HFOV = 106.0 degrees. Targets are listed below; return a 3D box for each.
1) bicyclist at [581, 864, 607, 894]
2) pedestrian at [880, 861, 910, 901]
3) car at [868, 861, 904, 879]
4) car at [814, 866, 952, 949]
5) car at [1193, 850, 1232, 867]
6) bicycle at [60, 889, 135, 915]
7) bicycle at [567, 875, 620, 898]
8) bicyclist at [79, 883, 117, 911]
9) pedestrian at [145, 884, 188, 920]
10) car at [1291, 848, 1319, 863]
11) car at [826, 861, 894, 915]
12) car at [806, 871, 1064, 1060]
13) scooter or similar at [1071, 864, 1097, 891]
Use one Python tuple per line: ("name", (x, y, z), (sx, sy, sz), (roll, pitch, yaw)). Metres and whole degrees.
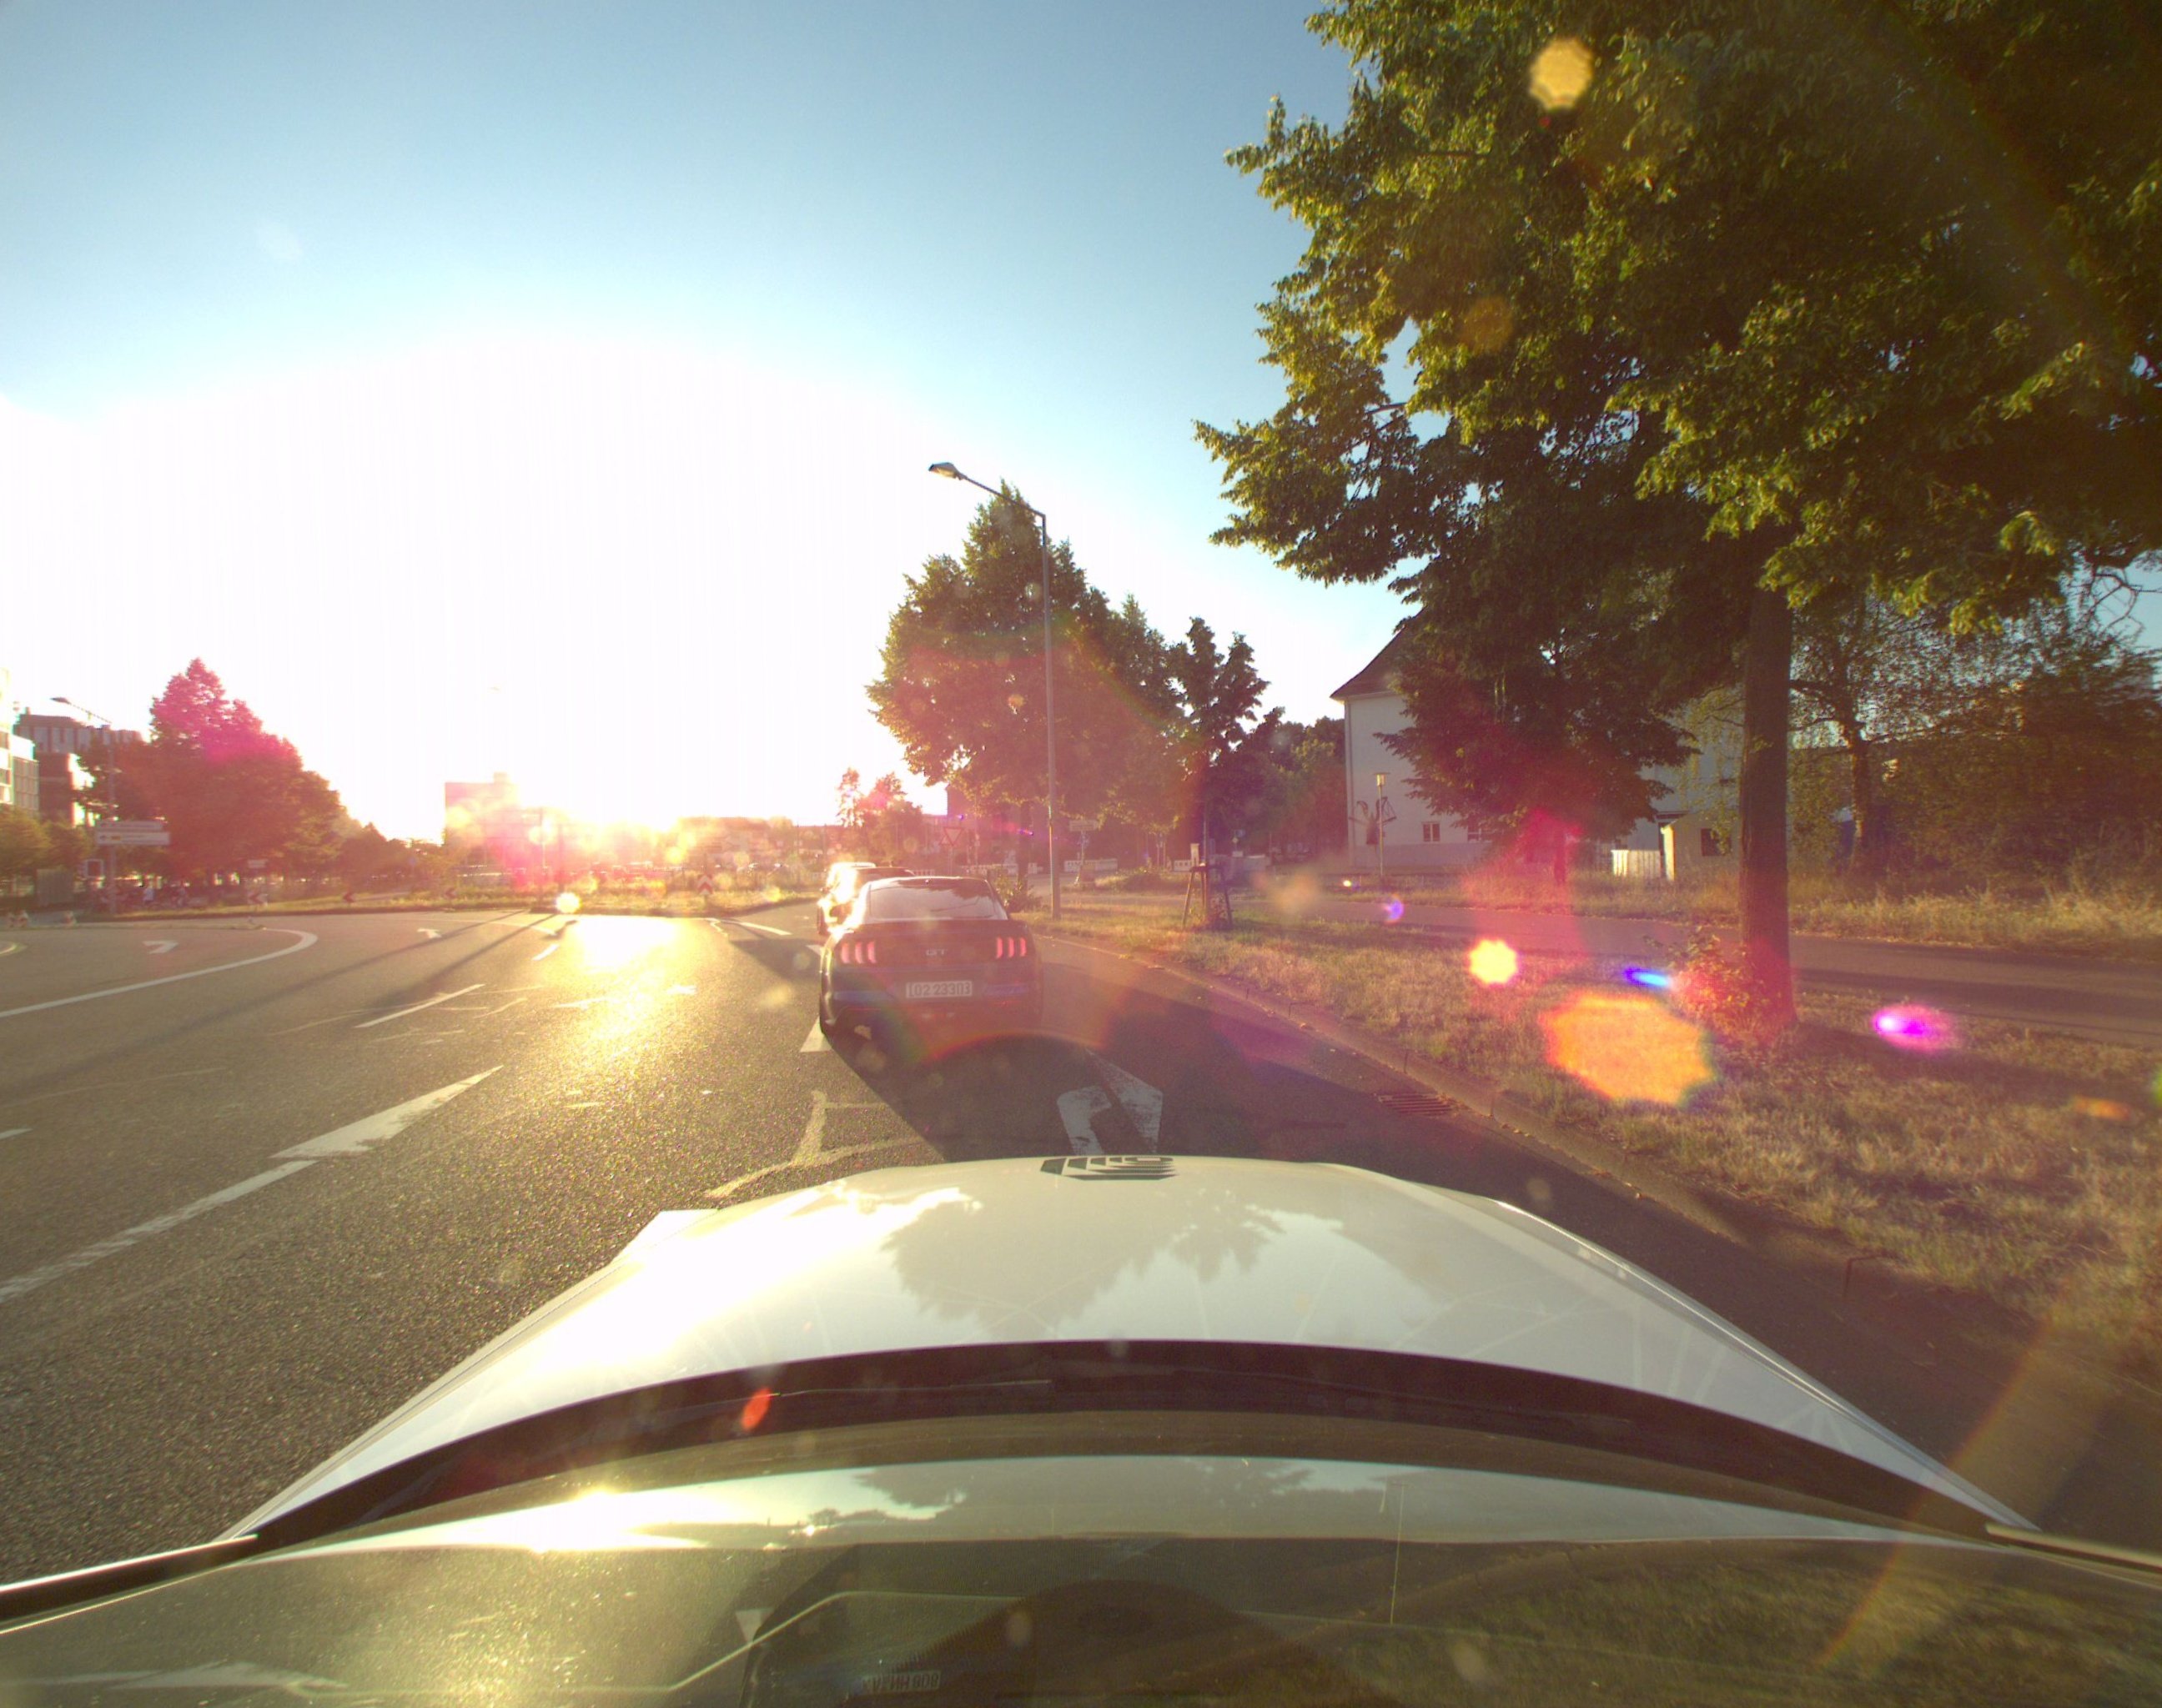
("bicyclist", (-27.135, 1.379, 45.359), (0.973, 1.612, 0.753), (-2, -1, -4))
("pedestrian", (-7.884, 1.140, 34.540), (0.875, 1.686, 0.852), (-2, 0, 37))
("car", (-20.049, 1.665, 83.676), (2.010, 1.706, 3.953), (-1, -1, -40))
("car", (-4.139, 0.975, 16.454), (1.960, 1.427, 4.393), (0, -2, -24))
("car", (11.670, 0.395, 72.133), (1.857, 1.401, 3.941), (-2, 0, 35))
("bicycle", (-51.276, 2.491, 42.494), (2.411, 1.167, 0.749), (-2, -1, -22))
("bicycle", (-27.141, 1.792, 45.370), (2.397, 1.167, 0.753), (-2, -1, -5))
("bicyclist", (-51.265, 2.222, 42.484), (0.979, 1.394, 0.749), (-2, -1, -21))
("pedestrian", (-48.742, 2.566, 43.429), (1.160, 1.827, 0.974), (-2, -1, -16))
("car", (26.023, 0.159, 94.447), (1.932, 1.602, 4.103), (-1, 0, 33))
("car", (-7.292, 1.123, 26.921), (1.955, 1.602, 4.055), (2, -3, -15))
("car", (-1.618, 0.879, 8.562), (1.953, 1.342, 4.649), (-1, -1, -13))
("scooter or similar", (0.145, 1.131, 39.339), (1.123, 1.238, 0.439), (-1, 0, -19))
